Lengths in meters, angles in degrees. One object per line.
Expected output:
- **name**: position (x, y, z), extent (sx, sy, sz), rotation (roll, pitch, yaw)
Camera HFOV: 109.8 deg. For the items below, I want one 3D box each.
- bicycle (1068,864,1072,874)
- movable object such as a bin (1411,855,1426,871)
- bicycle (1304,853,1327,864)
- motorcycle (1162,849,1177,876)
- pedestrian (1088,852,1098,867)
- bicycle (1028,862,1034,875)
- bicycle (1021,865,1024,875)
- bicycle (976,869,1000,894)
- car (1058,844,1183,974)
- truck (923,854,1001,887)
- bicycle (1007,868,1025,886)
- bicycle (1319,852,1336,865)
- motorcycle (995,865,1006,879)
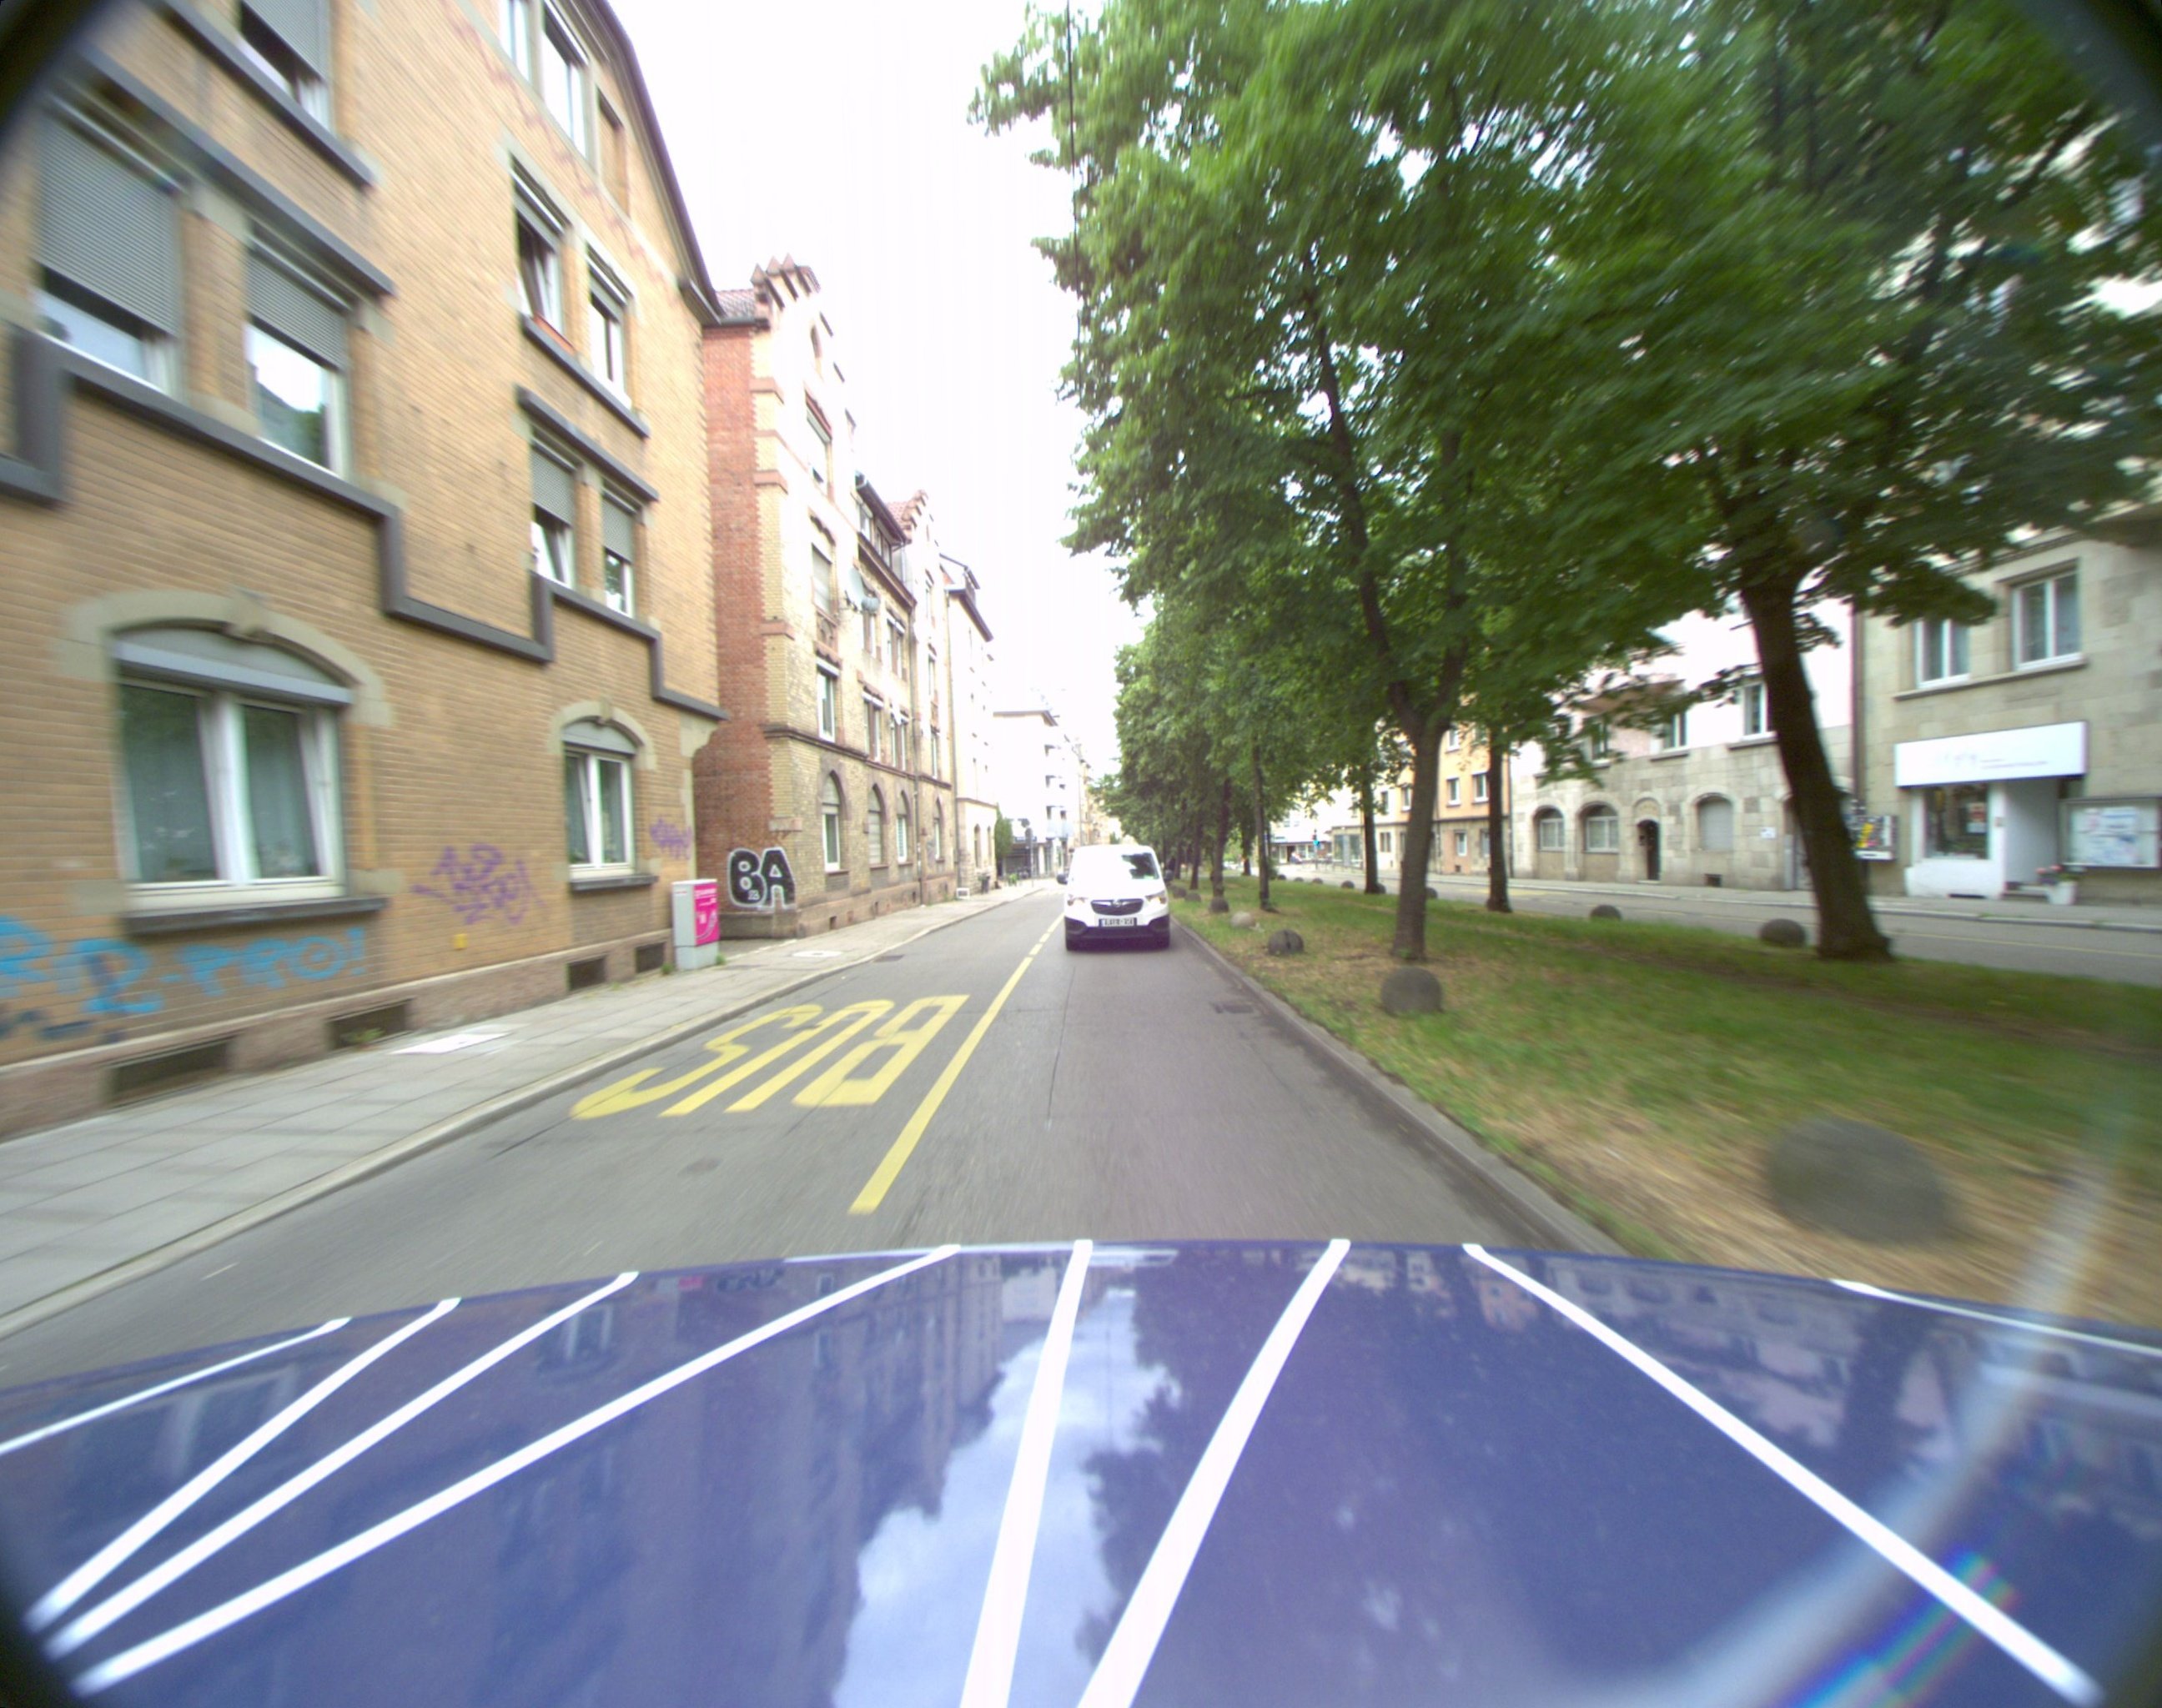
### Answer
- **bicycle**: position (-1.021, 1.419, 71.106), extent (0.154, 0.902, 1.286), rotation (-3, 0, 8)
- **movable object such as a bin**: position (19.892, 0.539, 44.821), extent (0.513, 0.921, 0.779), rotation (-3, 0, 4)
- **bicycle**: position (26.313, 0.520, 85.120), extent (2.345, 1.094, 0.775), rotation (-3, 0, 22)
- **motorcycle**: position (5.474, 0.551, 47.170), extent (0.825, 1.520, 2.626), rotation (1, -3, 5)
- **pedestrian**: position (1.664, 0.734, 105.317), extent (1.083, 2.002, 1.204), rotation (-3, 0, 4)
- **bicycle**: position (-4.562, 1.311, 69.398), extent (0.400, 1.197, 1.285), rotation (-4, 0, -4)
- **bicycle**: position (-5.328, 1.473, 69.327), extent (0.184, 0.902, 1.236), rotation (-3, 0, -4)
- **bicycle**: position (-4.657, 1.367, 38.273), extent (0.683, 1.143, 2.484), rotation (-2, 1, 4)
- **car**: position (0.735, 0.784, 13.182), extent (1.745, 1.830, 4.344), rotation (-2, 1, 4)
- **truck**: position (-9.438, 1.339, 60.737), extent (5.858, 2.094, 2.554), rotation (-4, -1, -4)
- **bicycle**: position (-4.193, 1.469, 49.217), extent (0.683, 1.142, 2.942), rotation (-2, -1, 4)
- **bicycle**: position (23.654, 0.397, 72.984), extent (0.684, 1.142, 2.057), rotation (-4, -2, -8)
- **motorcycle**: position (-7.018, 1.560, 66.232), extent (0.591, 1.190, 1.931), rotation (0, 0, 4)
